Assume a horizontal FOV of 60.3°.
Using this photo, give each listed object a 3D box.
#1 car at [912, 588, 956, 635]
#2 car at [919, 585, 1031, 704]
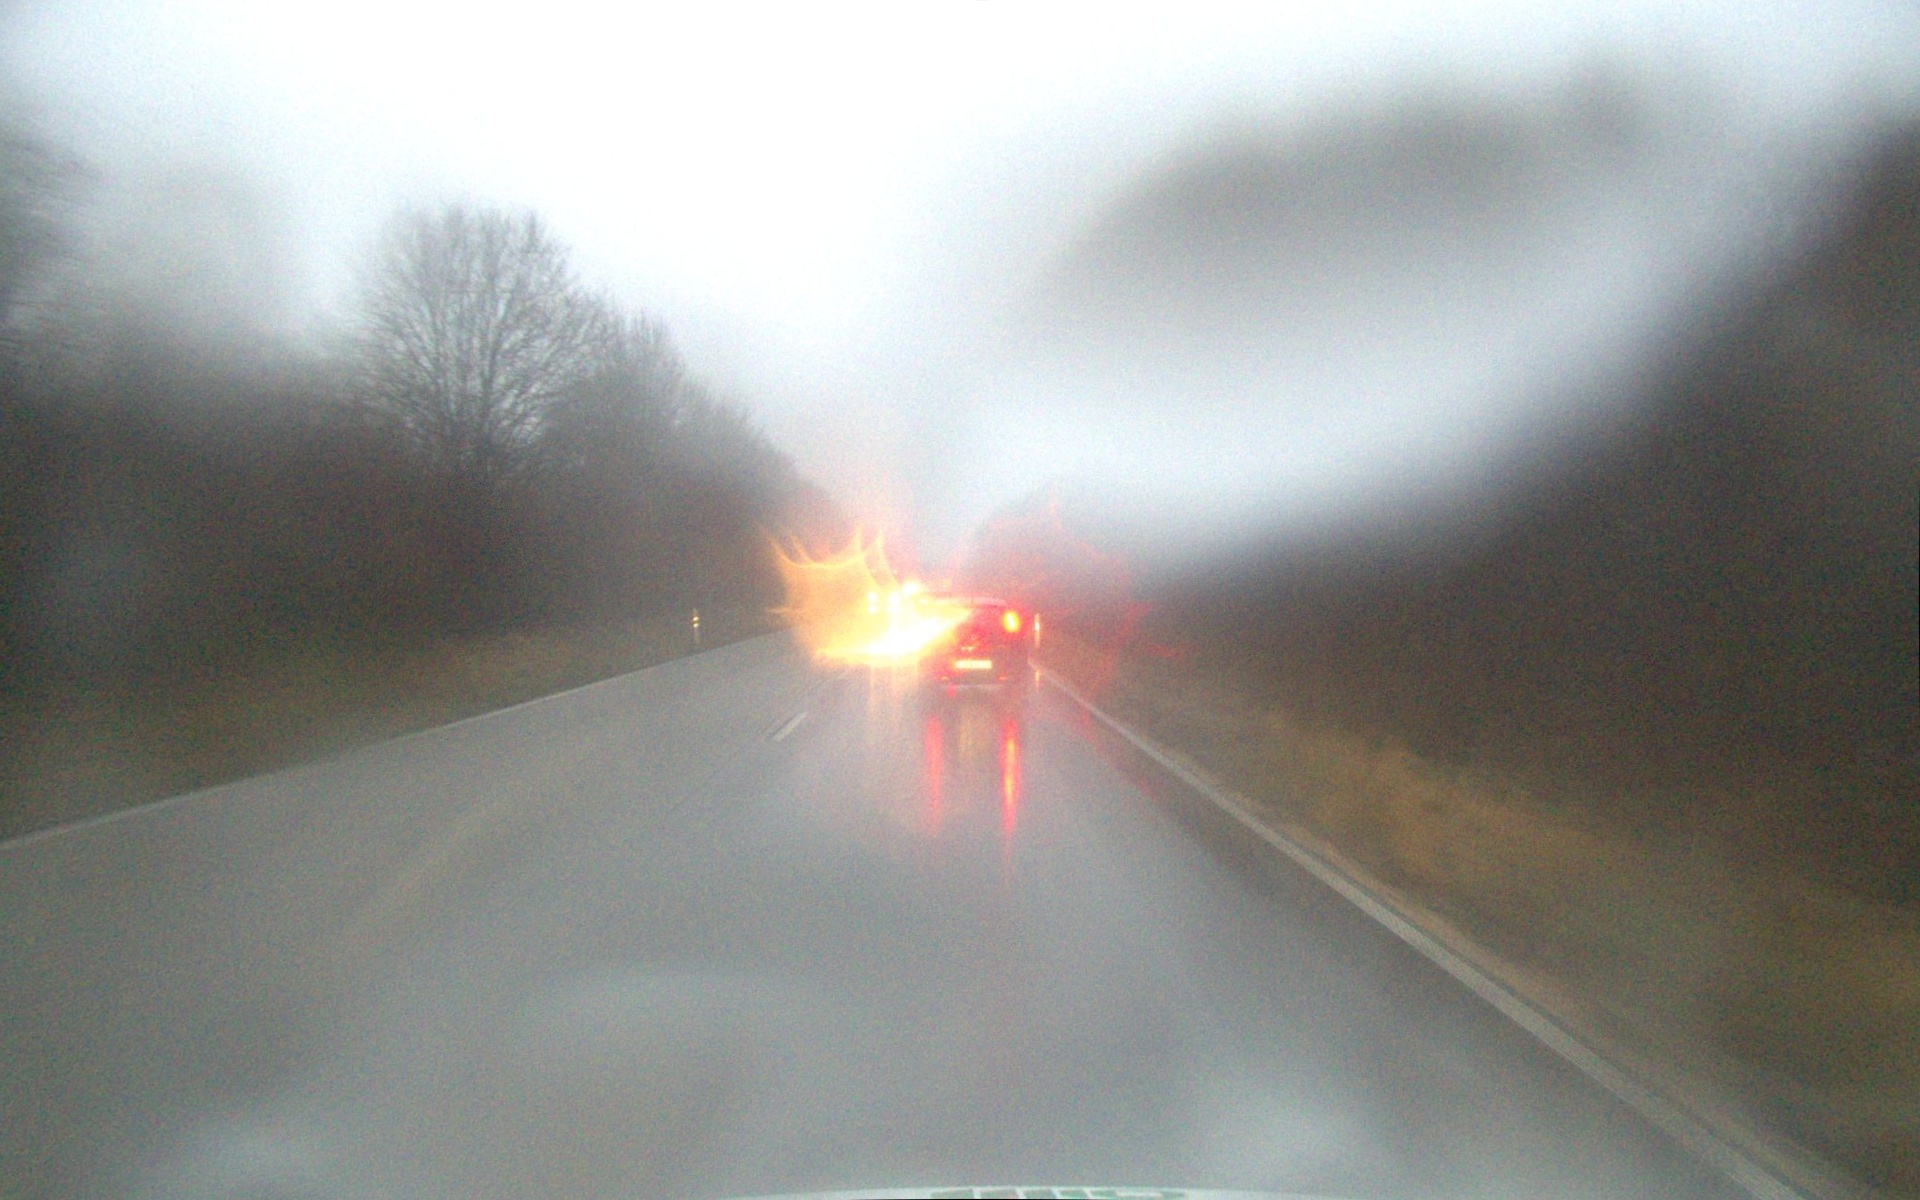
[{"bbox_3d":[-1.040,0.448,66.172,1.698,1.810,3.999,0,0,-1],"label":"car"},{"bbox_3d":[0.193,0.641,25.550,1.614,1.701,3.513,0,0,-1],"label":"car"}]
